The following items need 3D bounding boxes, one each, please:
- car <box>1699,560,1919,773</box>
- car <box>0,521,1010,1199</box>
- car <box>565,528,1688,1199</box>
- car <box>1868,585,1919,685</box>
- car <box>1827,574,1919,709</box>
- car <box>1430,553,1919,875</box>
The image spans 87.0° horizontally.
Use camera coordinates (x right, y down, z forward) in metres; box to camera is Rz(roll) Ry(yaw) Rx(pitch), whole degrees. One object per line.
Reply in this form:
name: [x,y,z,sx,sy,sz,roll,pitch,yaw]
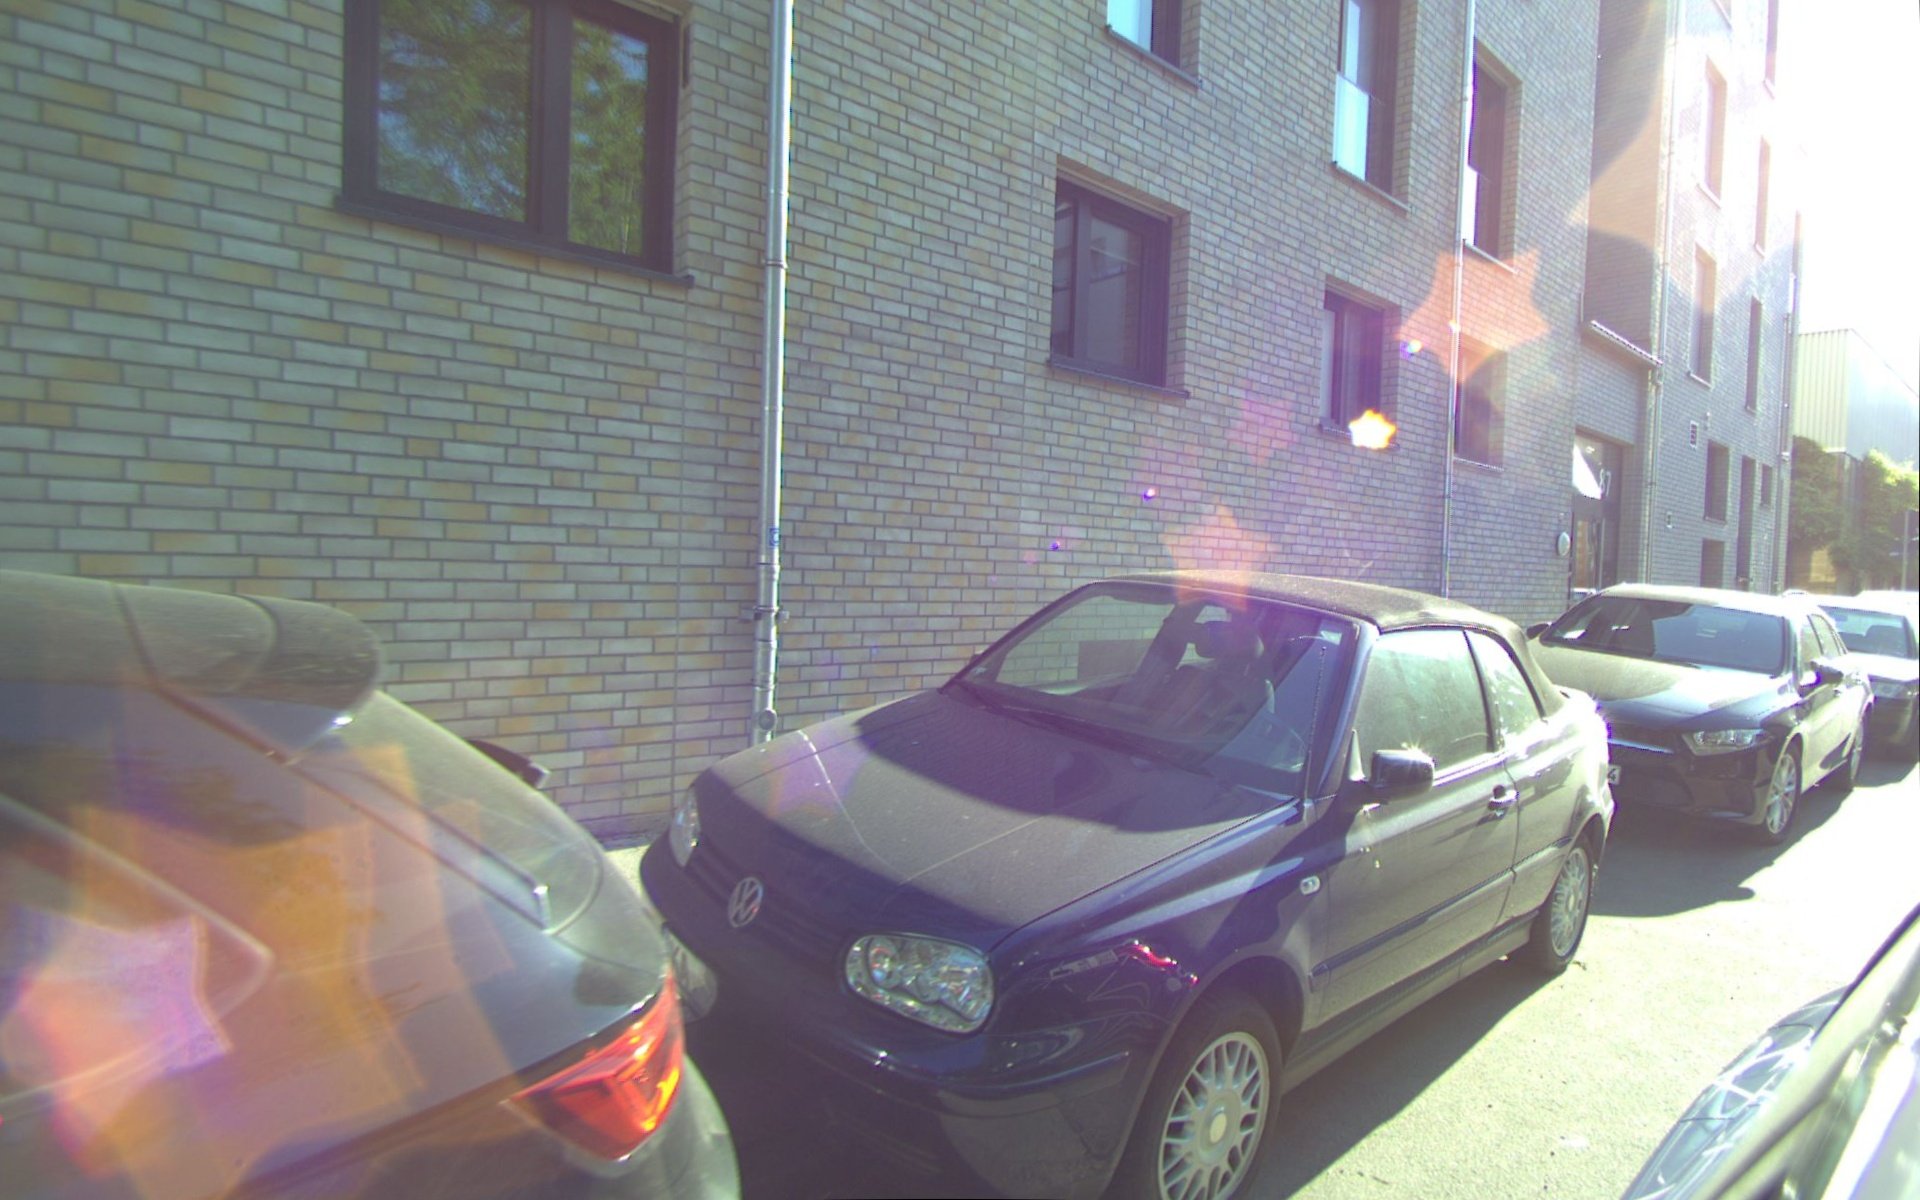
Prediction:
car: [9.419,0.539,10.637,4.756,1.755,1.670,0,3,-42]
car: [-2.230,0.661,0.353,4.640,1.485,1.699,0,4,-43]
car: [1.006,0.632,3.589,4.147,1.534,1.667,0,4,-43]
car: [16.560,0.566,16.973,3.594,1.542,1.729,0,3,-45]
car: [13.369,0.542,13.952,4.270,1.611,1.653,0,4,-44]
car: [5.371,0.564,7.344,4.544,1.547,1.730,0,6,-41]
